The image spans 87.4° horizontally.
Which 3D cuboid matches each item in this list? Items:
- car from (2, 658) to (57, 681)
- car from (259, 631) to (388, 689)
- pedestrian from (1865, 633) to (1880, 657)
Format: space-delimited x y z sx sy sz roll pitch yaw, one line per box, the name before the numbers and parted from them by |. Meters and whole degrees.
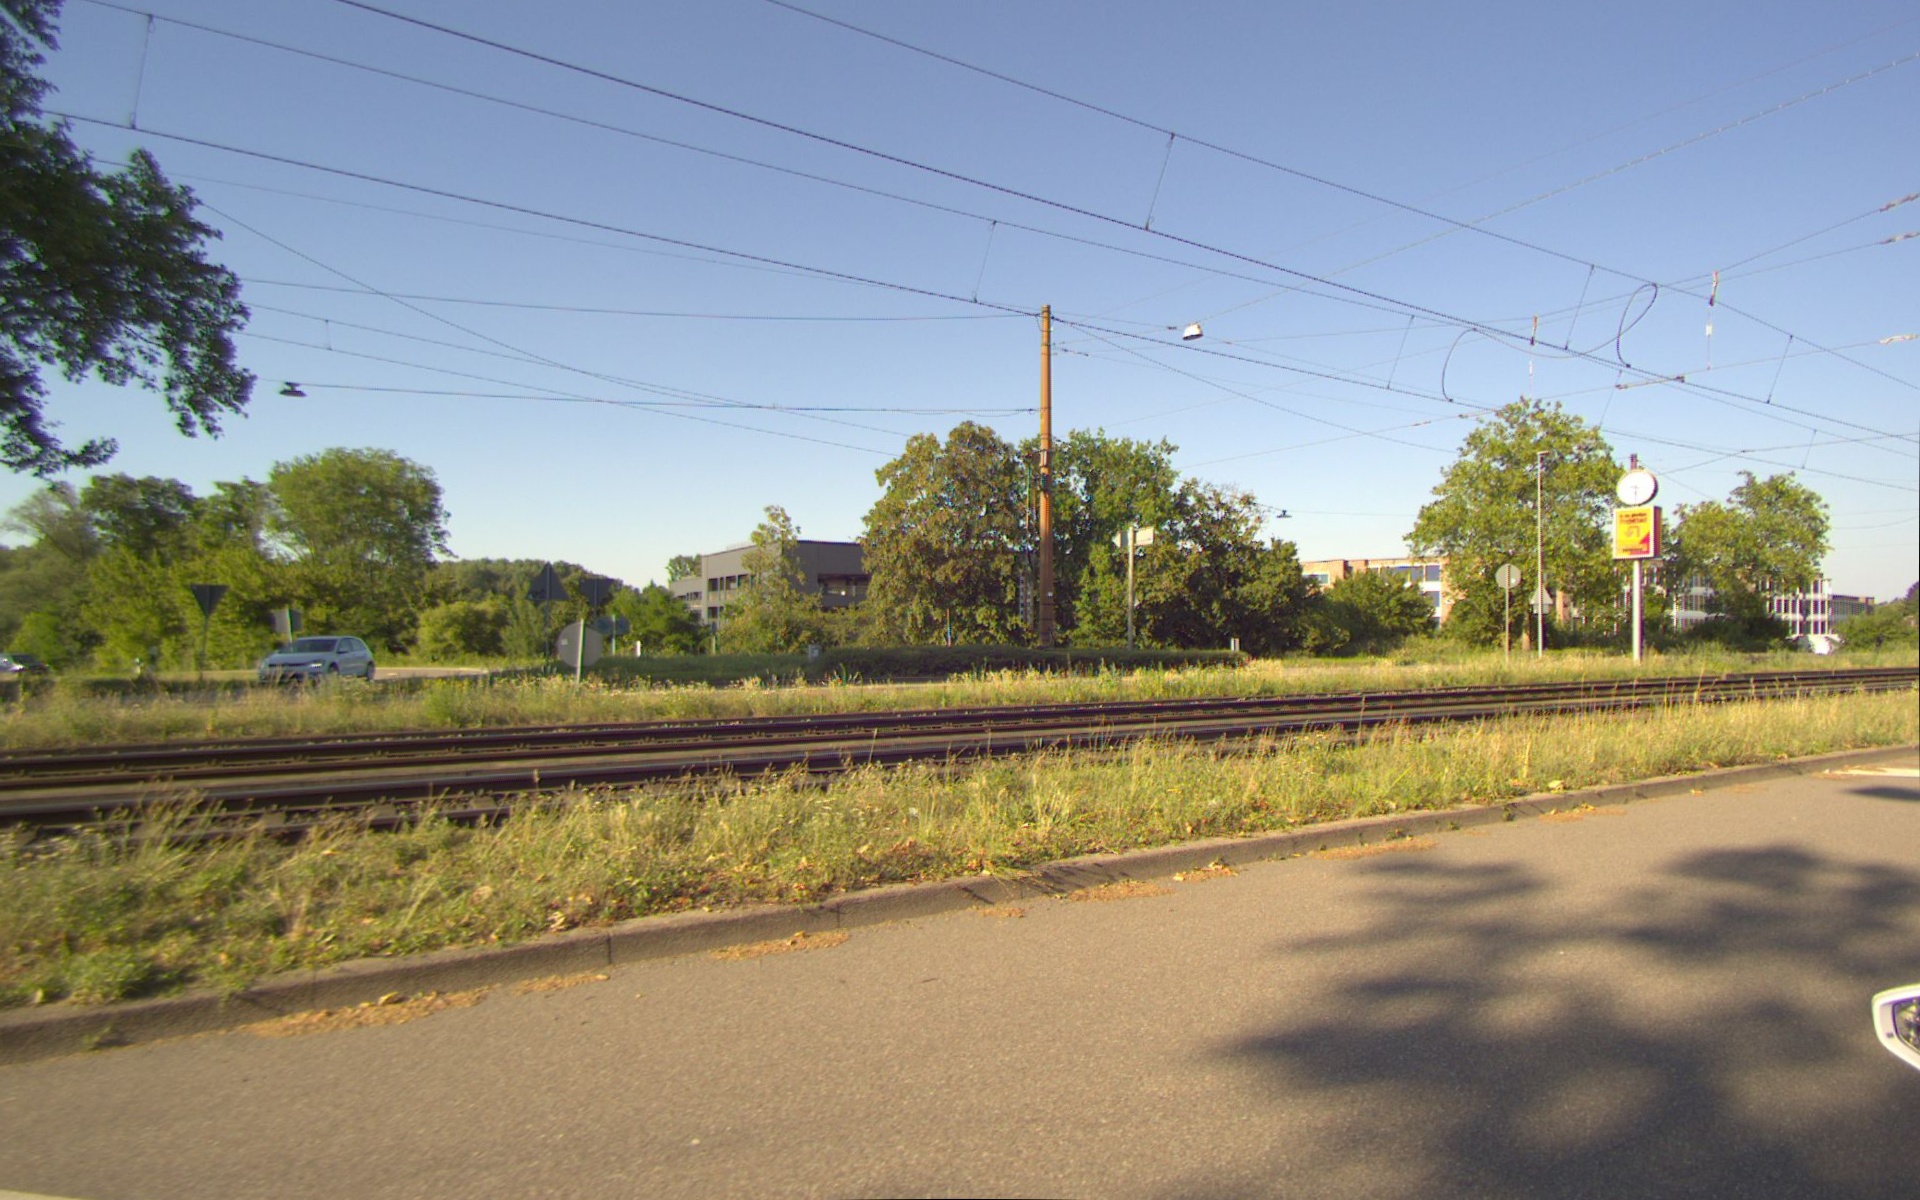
car | -65.887 4.925 71.119 4.053 1.544 1.656 -3 -6 29
car | -18.584 1.738 29.567 1.629 1.545 4.267 2 -3 -10
pedestrian | 68.795 3.389 75.760 0.639 1.845 0.541 1 0 -8
